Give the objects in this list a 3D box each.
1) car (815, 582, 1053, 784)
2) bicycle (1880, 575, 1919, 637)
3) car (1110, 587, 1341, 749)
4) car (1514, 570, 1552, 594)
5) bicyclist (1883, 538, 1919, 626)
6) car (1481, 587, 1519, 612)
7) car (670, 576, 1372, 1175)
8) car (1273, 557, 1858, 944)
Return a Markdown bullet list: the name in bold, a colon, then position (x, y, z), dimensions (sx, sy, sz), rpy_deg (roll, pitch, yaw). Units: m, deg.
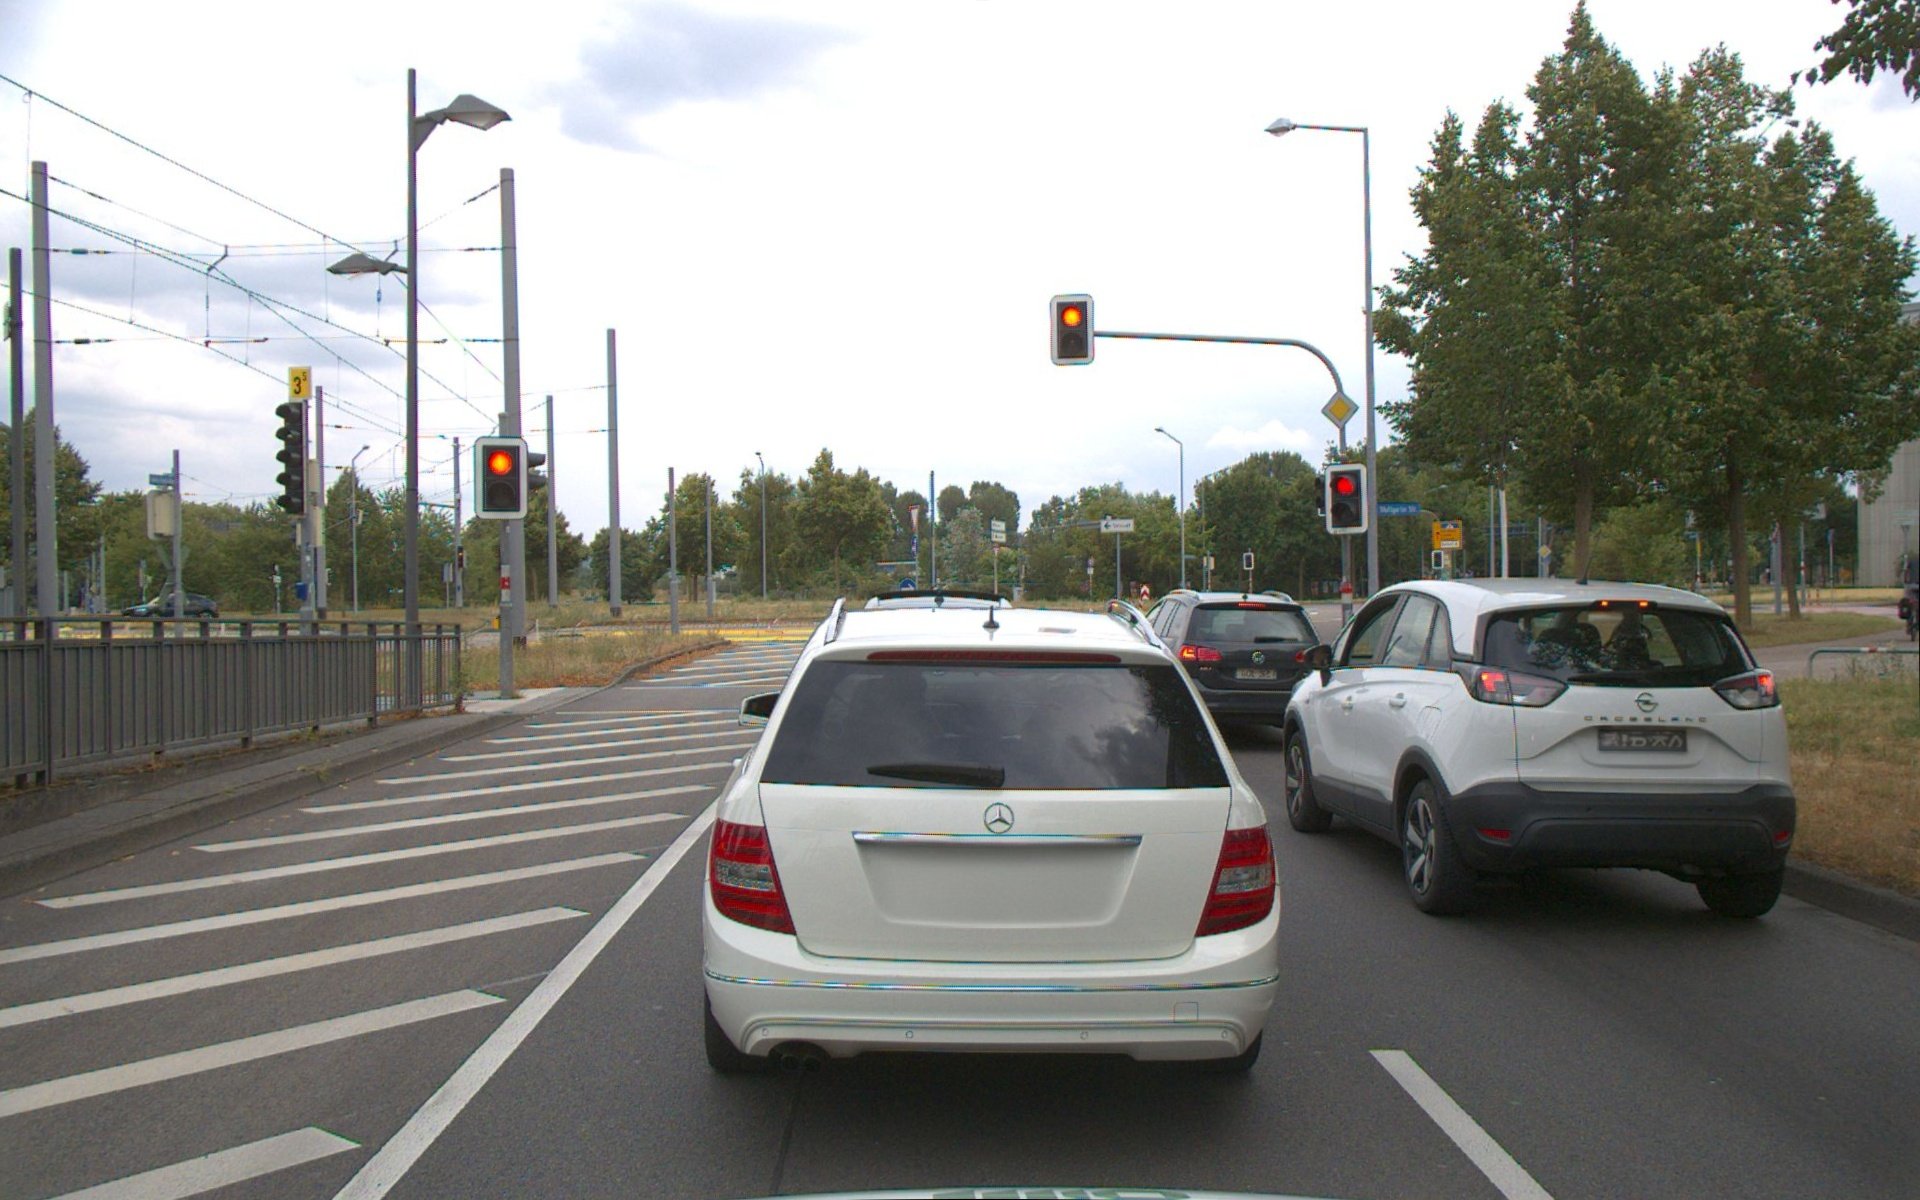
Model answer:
- **car**: position (-0.280, 0.595, 14.136), dimensions (1.738, 1.474, 3.908), rpy_deg (1, 0, -3)
- **bicycle**: position (19.949, 0.108, 34.376), dimensions (0.889, 1.256, 2.252), rpy_deg (0, 1, 44)
- **car**: position (2.621, 0.617, 17.173), dimensions (1.592, 1.474, 3.908), rpy_deg (1, 0, -3)
- **car**: position (40.230, -1.270, 116.049), dimensions (1.750, 1.664, 4.394), rpy_deg (-1, 1, 29)
- **bicyclist**: position (19.918, -0.396, 34.341), dimensions (0.983, 1.767, 1.122), rpy_deg (-3, 1, 45)
- **car**: position (41.299, -0.059, 126.467), dimensions (1.956, 1.822, 3.992), rpy_deg (1, 0, 30)
- **car**: position (0.072, 0.670, 6.068), dimensions (1.738, 1.474, 3.908), rpy_deg (1, 0, -3)
- **car**: position (3.005, 0.634, 9.144), dimensions (1.751, 1.653, 3.910), rpy_deg (-1, 1, -1)
